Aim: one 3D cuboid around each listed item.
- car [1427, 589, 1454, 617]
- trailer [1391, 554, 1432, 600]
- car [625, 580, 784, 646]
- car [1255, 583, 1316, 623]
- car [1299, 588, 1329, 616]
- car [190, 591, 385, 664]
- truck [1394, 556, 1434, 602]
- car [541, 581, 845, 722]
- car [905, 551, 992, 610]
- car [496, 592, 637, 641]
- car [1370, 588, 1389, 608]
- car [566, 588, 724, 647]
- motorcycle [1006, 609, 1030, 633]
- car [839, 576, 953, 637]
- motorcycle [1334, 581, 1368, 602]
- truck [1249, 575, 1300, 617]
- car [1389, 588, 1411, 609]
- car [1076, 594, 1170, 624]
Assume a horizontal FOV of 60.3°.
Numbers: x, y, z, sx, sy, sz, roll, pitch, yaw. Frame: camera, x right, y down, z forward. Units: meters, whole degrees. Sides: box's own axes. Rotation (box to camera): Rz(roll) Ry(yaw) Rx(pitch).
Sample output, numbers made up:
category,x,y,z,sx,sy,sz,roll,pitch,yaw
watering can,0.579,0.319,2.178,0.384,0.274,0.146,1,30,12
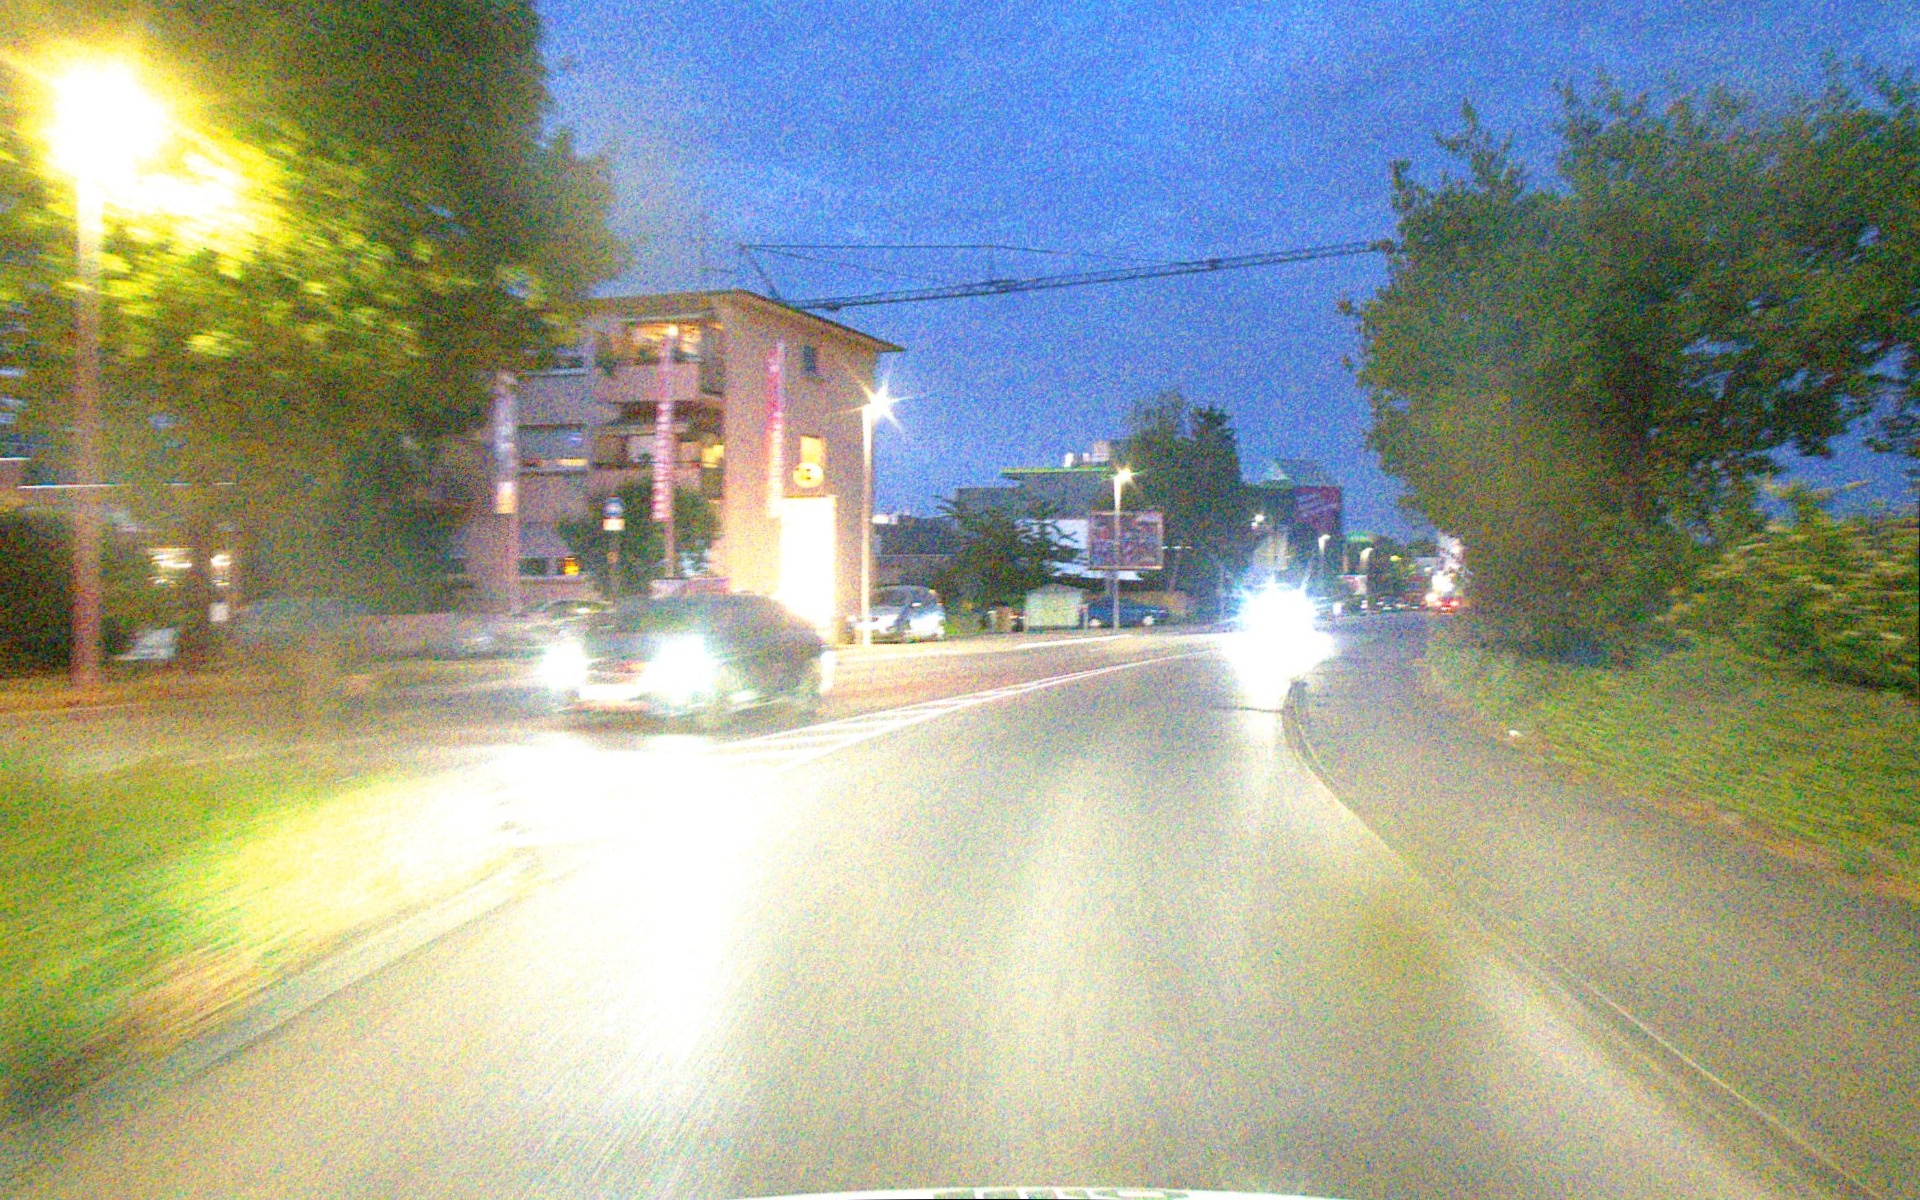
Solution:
category,x,y,z,sx,sy,sz,roll,pitch,yaw
car,38.701,0.250,133.055,1.951,2.048,4.003,-3,1,17
trailer,52.751,-2.725,193.469,3.759,4.975,10.820,2,2,11
car,-5.889,0.278,38.494,1.519,1.445,3.685,1,1,36
car,13.884,0.112,70.387,1.719,1.635,4.452,-1,0,22
car,21.926,0.122,102.265,1.681,1.646,3.842,-1,0,14
car,-13.739,0.567,33.833,3.428,1.383,1.498,-2,-1,12
truck,51.751,-2.474,188.554,3.759,4.975,6.360,2,2,11
car,-2.916,0.522,19.182,1.722,1.427,4.590,0,0,15
car,-0.395,-0.776,62.175,1.952,2.048,4.002,2,2,20
car,-9.726,0.385,41.058,1.518,1.151,3.201,1,1,36
car,38.703,-0.167,152.524,1.688,1.769,3.811,-1,0,14
car,-7.515,0.399,39.680,1.519,1.334,3.684,1,1,37
motorcycle,2.821,1.016,80.527,0.964,1.164,1.850,1,0,9
car,-1.759,0.160,47.032,1.719,1.635,4.454,1,0,19
motorcycle,39.194,-0.876,165.824,3.969,2.048,1.301,-1,3,-44
truck,16.936,-0.214,88.974,2.200,2.167,5.984,-1,0,15
car,43.659,-0.154,164.061,1.951,1.930,4.004,-1,1,13
car,7.774,0.428,78.943,4.256,1.383,1.644,0,0,16
